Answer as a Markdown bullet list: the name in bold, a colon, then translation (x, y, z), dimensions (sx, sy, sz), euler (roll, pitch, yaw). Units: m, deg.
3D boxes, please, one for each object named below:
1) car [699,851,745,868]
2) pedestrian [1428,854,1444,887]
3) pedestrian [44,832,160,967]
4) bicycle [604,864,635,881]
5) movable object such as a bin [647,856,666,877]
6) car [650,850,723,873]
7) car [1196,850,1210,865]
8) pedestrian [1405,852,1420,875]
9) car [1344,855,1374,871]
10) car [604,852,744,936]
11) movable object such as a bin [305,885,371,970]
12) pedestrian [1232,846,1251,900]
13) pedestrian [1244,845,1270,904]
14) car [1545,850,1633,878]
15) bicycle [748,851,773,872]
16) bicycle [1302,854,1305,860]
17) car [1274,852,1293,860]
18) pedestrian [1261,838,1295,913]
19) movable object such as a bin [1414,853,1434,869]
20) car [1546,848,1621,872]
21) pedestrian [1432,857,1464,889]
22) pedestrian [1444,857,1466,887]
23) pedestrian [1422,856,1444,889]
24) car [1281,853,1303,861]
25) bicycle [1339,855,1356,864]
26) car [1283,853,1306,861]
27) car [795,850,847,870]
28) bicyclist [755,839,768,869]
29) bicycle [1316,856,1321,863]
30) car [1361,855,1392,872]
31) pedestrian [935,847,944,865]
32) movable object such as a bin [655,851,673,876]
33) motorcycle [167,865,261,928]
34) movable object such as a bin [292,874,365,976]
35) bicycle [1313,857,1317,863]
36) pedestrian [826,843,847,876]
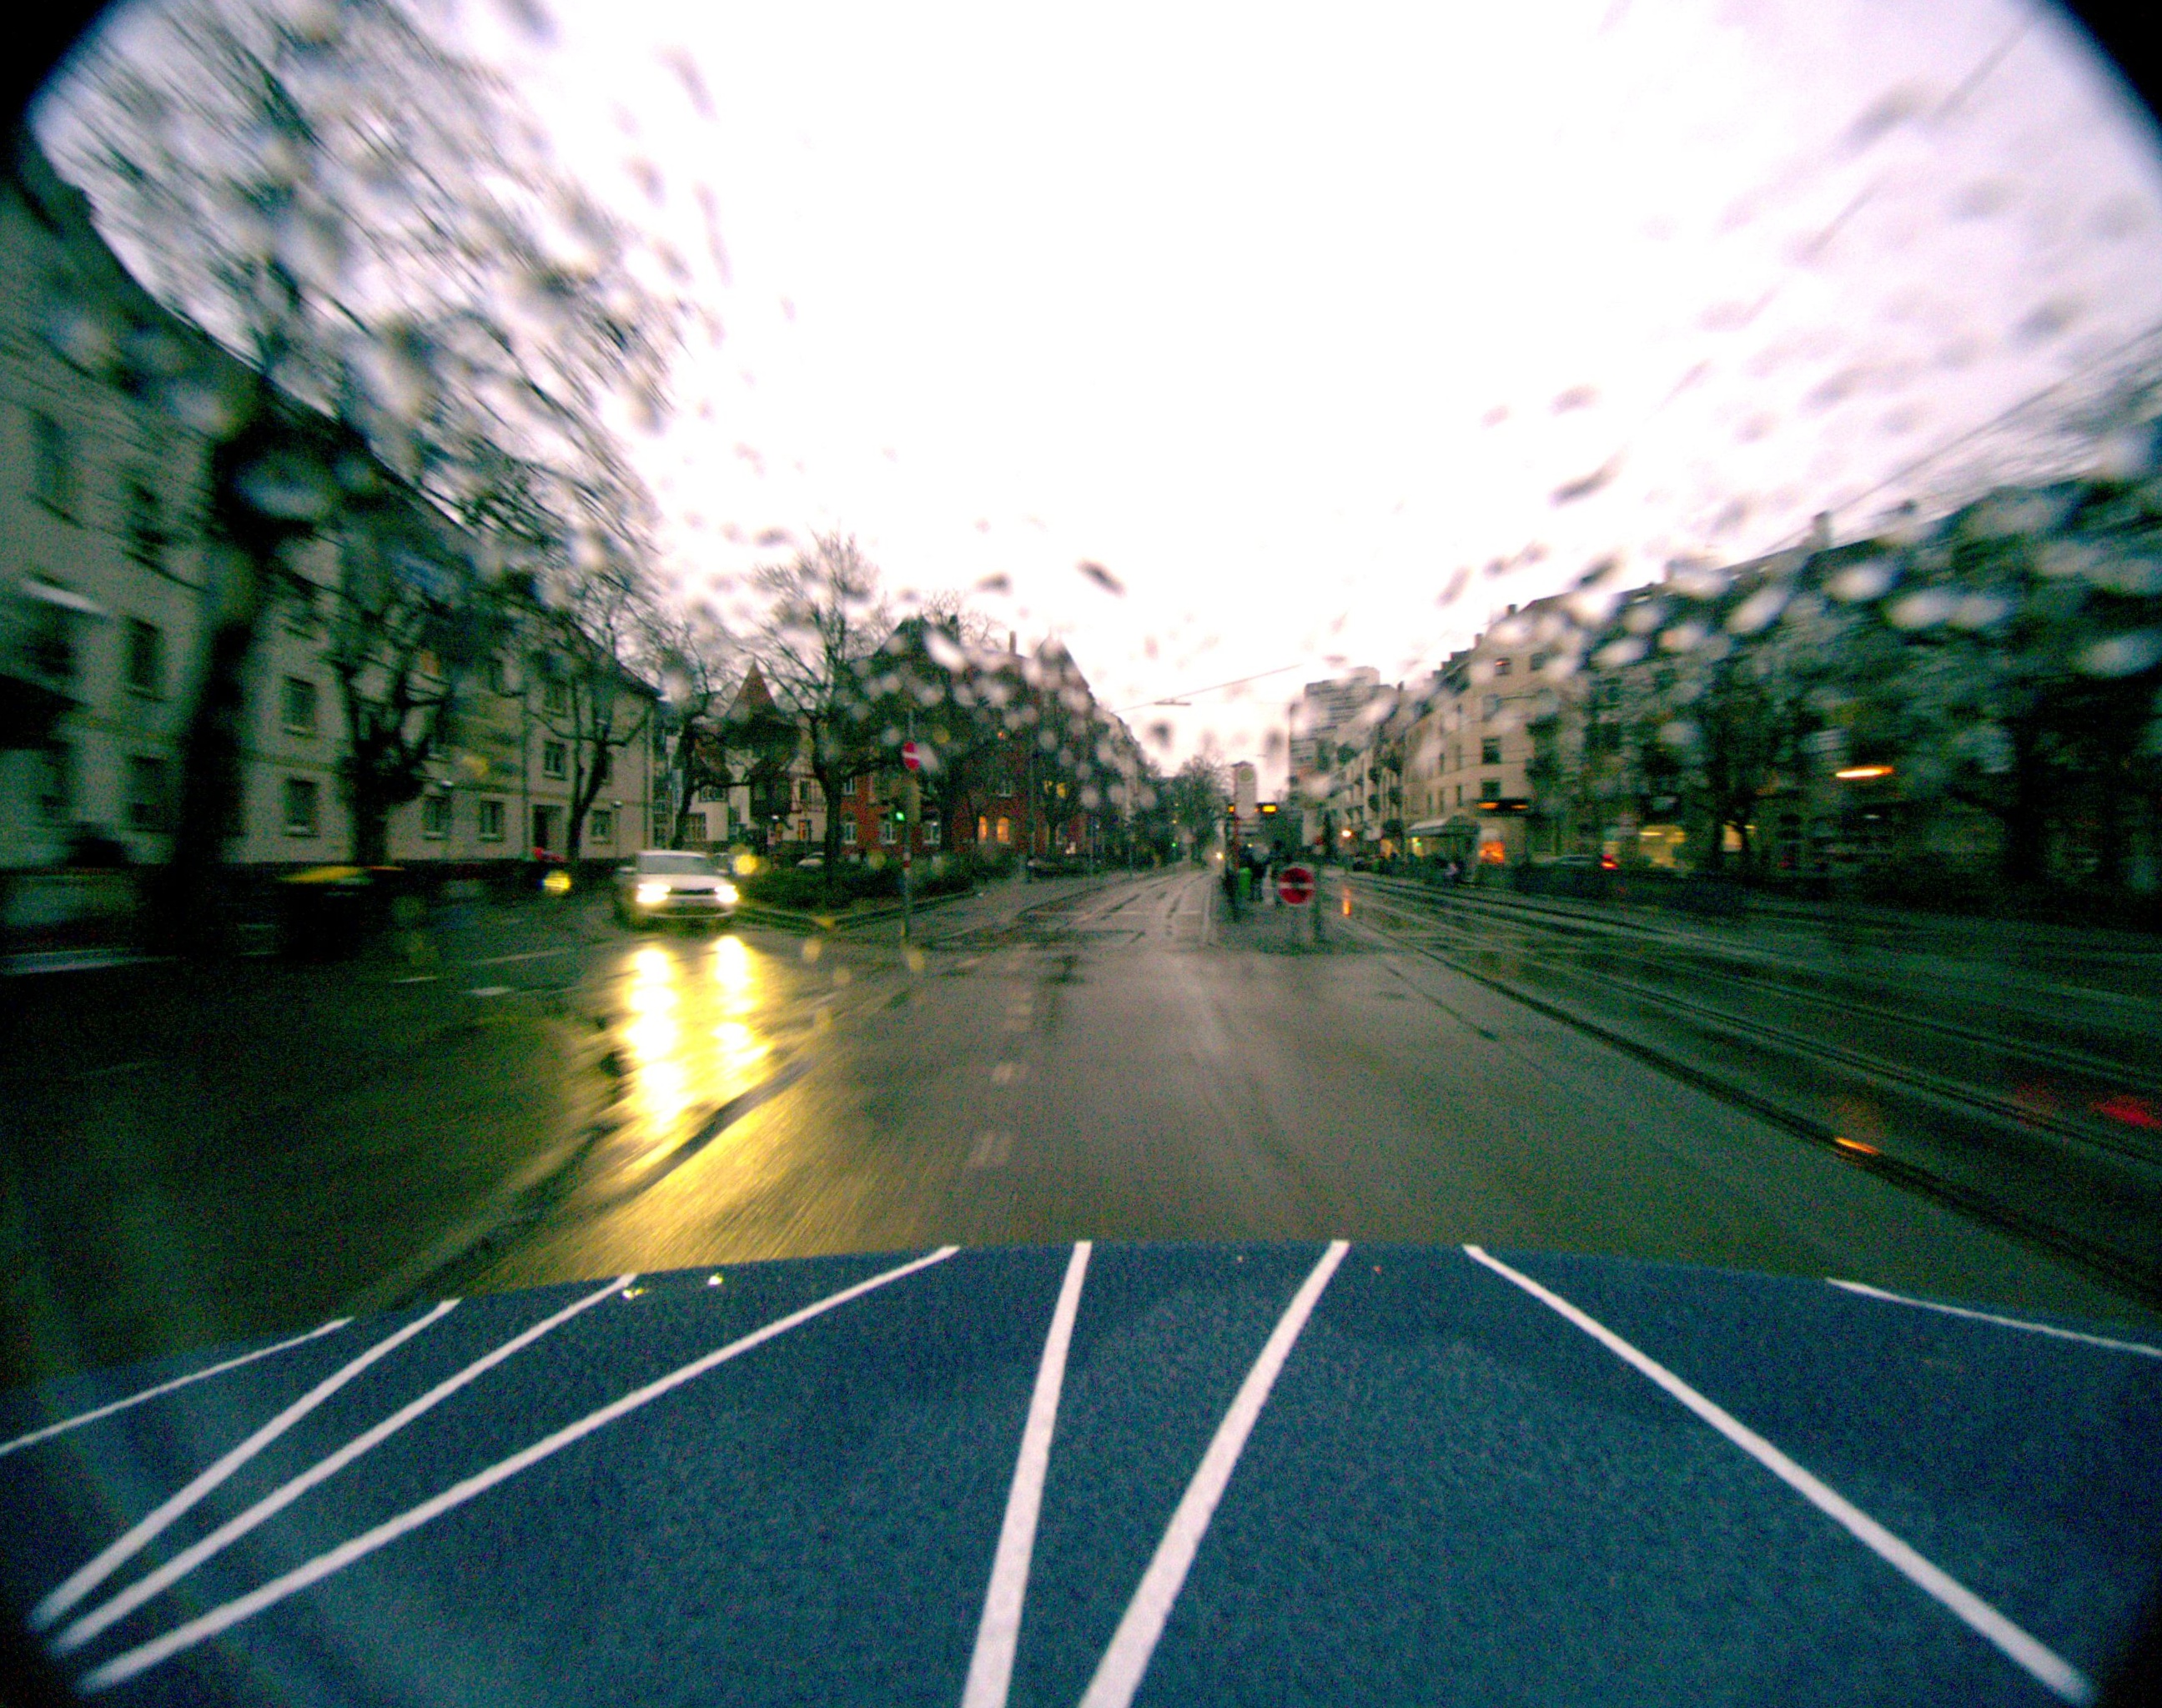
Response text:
- **car**: translation (-31.699, 0.489, 67.058), dimensions (3.989, 1.390, 1.651), euler (1, 0, 30)
- **pedestrian**: translation (15.315, 0.700, 32.763), dimensions (0.474, 1.395, 0.454), euler (-3, 0, 10)
- **pedestrian**: translation (-12.517, 0.556, 9.745), dimensions (0.689, 1.651, 0.713), euler (0, 1, -29)
- **bicycle**: translation (-21.740, 0.870, 35.813), dimensions (0.339, 0.761, 1.590), euler (0, 1, 7)
- **movable object such as a bin**: translation (-20.178, 0.606, 36.117), dimensions (0.528, 0.975, 0.650), euler (0, 1, -2)
- **car**: translation (-26.966, 0.479, 52.024), dimensions (1.845, 1.477, 4.009), euler (1, 0, 38)
- **car**: translation (16.529, 0.426, 102.709), dimensions (1.725, 1.934, 4.512), euler (-3, 0, 9)
- **pedestrian**: translation (27.935, 0.775, 63.967), dimensions (0.896, 1.867, 0.796), euler (-3, 1, -44)
- **car**: translation (28.208, 0.895, 77.135), dimensions (1.805, 1.382, 4.511), euler (-3, 0, 7)
- **car**: translation (-9.216, 0.771, 16.984), dimensions (1.903, 1.501, 4.739), euler (0, 1, -39)
- **movable object such as a bin**: translation (-10.365, 1.005, 10.622), dimensions (0.539, 1.113, 0.699), euler (-3, 0, -37)
- **pedestrian**: translation (5.405, 0.635, 25.608), dimensions (0.558, 1.797, 0.571), euler (-3, 0, 11)
- **pedestrian**: translation (5.199, 0.605, 22.473), dimensions (0.658, 1.698, 0.571), euler (-3, 0, 11)
- **car**: translation (30.746, 0.563, 46.064), dimensions (4.331, 1.574, 1.941), euler (0, 0, 36)
- **bicycle**: translation (-20.048, 0.465, 47.618), dimensions (0.467, 1.284, 1.915), euler (1, 1, 10)
- **bicycle**: translation (36.242, 0.502, 123.760), dimensions (0.434, 1.001, 1.883), euler (0, 0, 12)
- **car**: translation (43.370, 0.410, 162.561), dimensions (3.837, 1.707, 1.729), euler (-2, 0, 11)
- **pedestrian**: translation (5.145, 0.545, 19.848), dimensions (0.687, 1.906, 0.719), euler (-2, 0, 22)
- **movable object such as a bin**: translation (31.896, 0.657, 70.621), dimensions (1.351, 1.364, 1.282), euler (-3, 0, 9)
- **car**: translation (32.969, 0.411, 49.923), dimensions (3.816, 1.464, 1.617), euler (-3, 0, 44)
- **pedestrian**: translation (15.259, 0.786, 31.643), dimensions (1.058, 1.247, 0.507), euler (-3, 0, 10)
- **pedestrian**: translation (15.314, 0.734, 31.090), dimensions (0.653, 1.211, 0.517), euler (-3, 0, 10)
- **pedestrian**: translation (15.433, 0.820, 33.319), dimensions (0.685, 1.395, 0.579), euler (-3, 0, 10)
- **car**: translation (39.804, 0.551, 143.350), dimensions (3.836, 1.405, 1.729), euler (1, 0, 11)
- **bicycle**: translation (34.512, 0.723, 98.438), dimensions (1.988, 1.152, 0.531), euler (-3, 0, 9)
- **car**: translation (39.520, 0.574, 140.682), dimensions (3.836, 1.405, 1.728), euler (0, 0, 11)
- **car**: translation (-20.619, 0.456, 60.225), dimensions (3.989, 1.487, 1.651), euler (1, 0, 30)
- **bicyclist**: translation (-20.031, 0.021, 47.666), dimensions (0.467, 1.876, 0.680), euler (1, 1, 10)
- **bicycle**: translation (32.805, 0.807, 104.853), dimensions (0.530, 0.934, 2.088), euler (-3, 0, 14)
- **car**: translation (27.875, 0.897, 71.839), dimensions (1.676, 1.507, 3.680), euler (-3, 0, 4)
- **pedestrian**: translation (-10.684, 0.153, 57.281), dimensions (0.546, 1.308, 0.608), euler (-1, 0, -2)
- **movable object such as a bin**: translation (-20.181, 0.460, 36.808), dimensions (0.528, 1.221, 0.650), euler (0, 1, -2)
- **motorcycle**: translation (-16.467, 0.783, 14.477), dimensions (0.570, 1.099, 1.599), euler (3, -1, -26)
- **movable object such as a bin**: translation (-9.852, 0.903, 9.972), dimensions (0.523, 1.244, 0.852), euler (-3, 0, -37)
- **bicycle**: translation (33.745, 0.882, 109.571), dimensions (0.530, 0.884, 2.211), euler (0, 0, 14)
- **pedestrian**: translation (-13.998, 0.329, 43.470), dimensions (0.876, 1.853, 0.816), euler (1, 1, 37)
